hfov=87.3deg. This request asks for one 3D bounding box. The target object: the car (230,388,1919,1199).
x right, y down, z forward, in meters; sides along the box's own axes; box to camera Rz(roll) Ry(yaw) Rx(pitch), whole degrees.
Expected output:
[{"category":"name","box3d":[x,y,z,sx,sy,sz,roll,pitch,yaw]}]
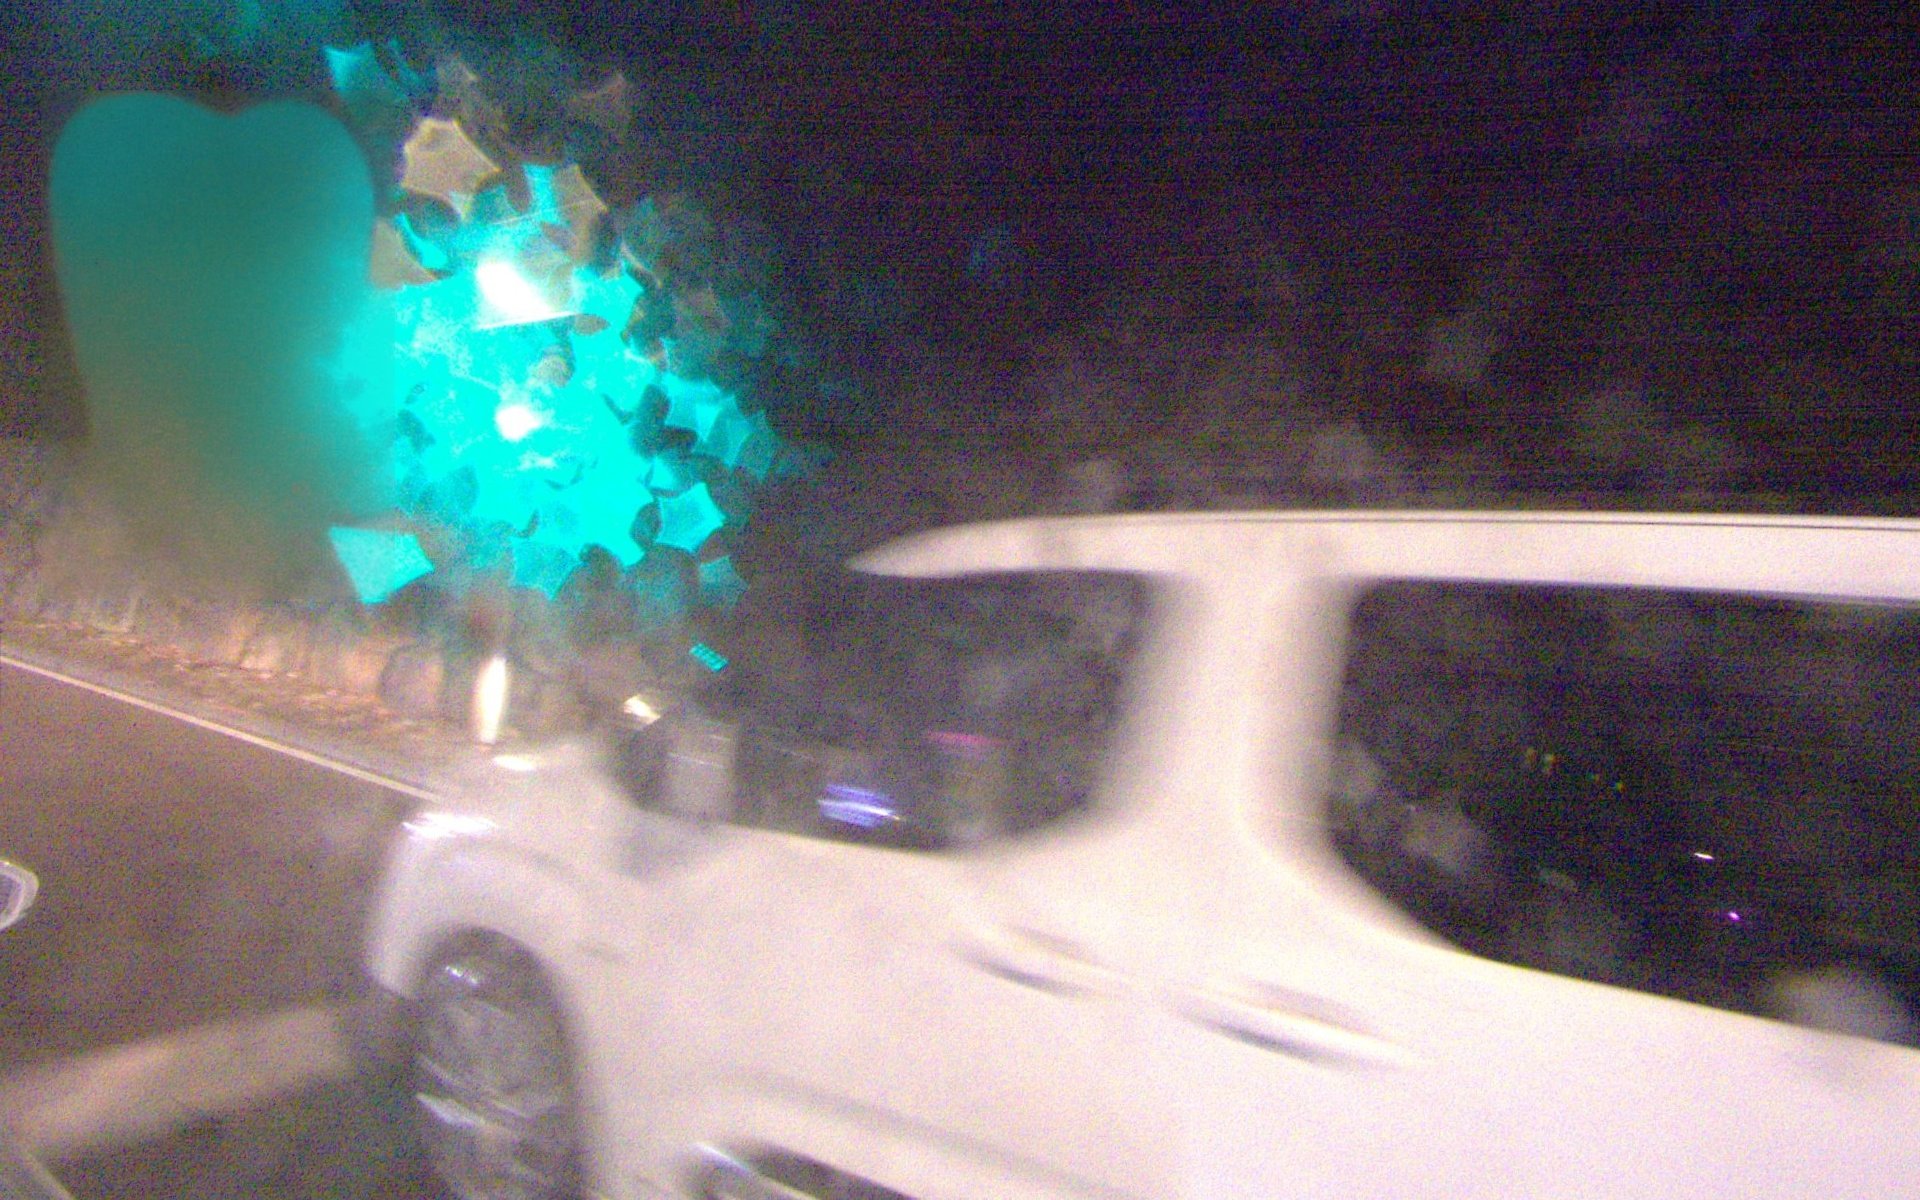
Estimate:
[{"category":"car","box3d":[0.639,0.601,2.306,4.807,1.606,1.878,6,-3,31]}]
